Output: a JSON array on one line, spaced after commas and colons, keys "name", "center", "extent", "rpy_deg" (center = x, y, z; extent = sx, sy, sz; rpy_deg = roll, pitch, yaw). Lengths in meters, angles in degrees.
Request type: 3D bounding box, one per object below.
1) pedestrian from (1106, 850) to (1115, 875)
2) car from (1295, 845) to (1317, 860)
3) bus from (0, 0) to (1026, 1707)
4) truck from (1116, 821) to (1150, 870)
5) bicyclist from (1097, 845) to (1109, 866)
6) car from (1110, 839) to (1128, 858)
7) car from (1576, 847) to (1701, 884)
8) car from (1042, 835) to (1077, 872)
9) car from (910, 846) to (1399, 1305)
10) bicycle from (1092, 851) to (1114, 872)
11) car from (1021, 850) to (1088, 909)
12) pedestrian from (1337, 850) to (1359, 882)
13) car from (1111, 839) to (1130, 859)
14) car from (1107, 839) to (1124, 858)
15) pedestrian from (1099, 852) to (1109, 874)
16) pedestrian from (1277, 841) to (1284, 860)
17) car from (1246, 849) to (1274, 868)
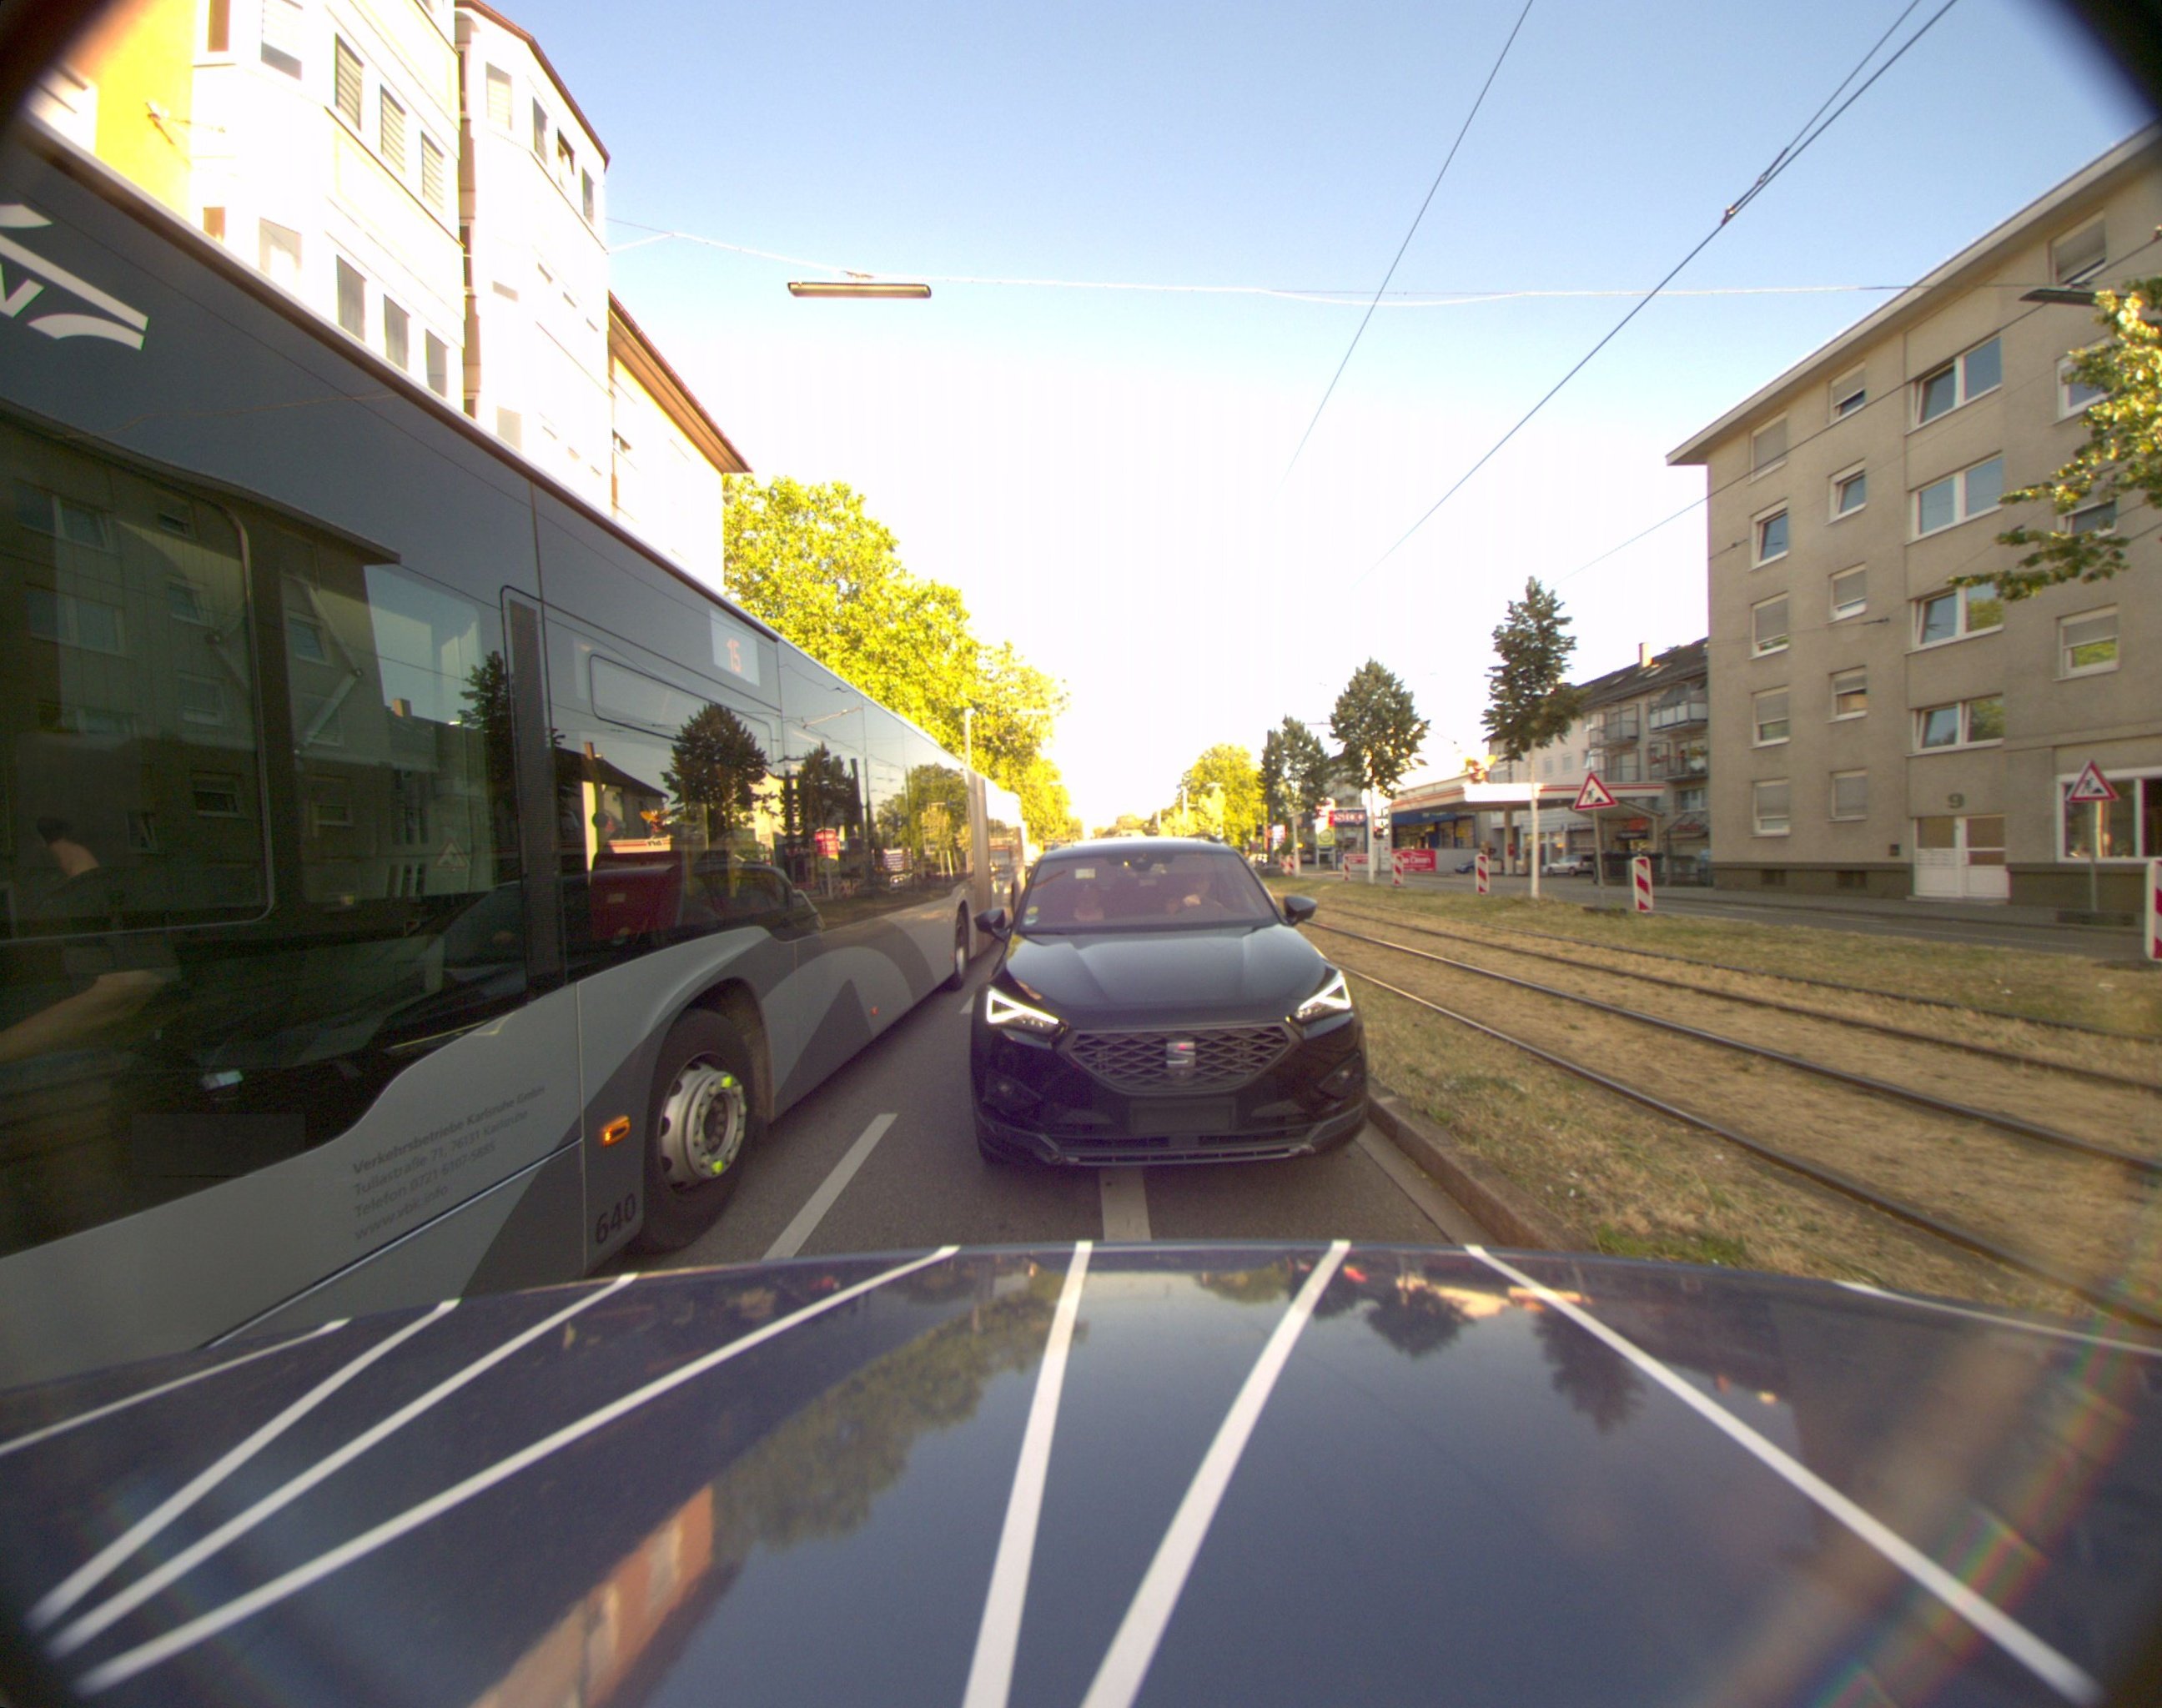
[{"name": "pedestrian", "center": [2.401, 0.680, 61.740], "extent": [0.625, 2.002, 0.695], "rpy_deg": [-2, 0, 0]}, {"name": "car", "center": [25.104, -0.156, 84.816], "extent": [1.781, 1.547, 4.002], "rpy_deg": [-2, 1, 9]}, {"name": "bus", "center": [-2.826, 0.127, 9.116], "extent": [2.773, 3.131, 17.740], "rpy_deg": [-2, 0, 1]}, {"name": "truck", "center": [4.316, -0.700, 64.409], "extent": [2.306, 3.798, 7.723], "rpy_deg": [-2, 1, 1]}, {"name": "bicyclist", "center": [1.381, 0.085, 47.197], "extent": [0.499, 1.303, 0.501], "rpy_deg": [-1, 2, 43]}, {"name": "car", "center": [4.105, -0.592, 83.555], "extent": [1.767, 2.002, 3.791], "rpy_deg": [-2, 1, 1]}, {"name": "car", "center": [22.777, 0.495, 31.141], "extent": [3.727, 1.460, 1.908], "rpy_deg": [0, -1, 0]}, {"name": "car", "center": [-1.708, -0.071, 63.671], "extent": [2.681, 2.875, 5.452], "rpy_deg": [-2, 1, 0]}, {"name": "car", "center": [0.306, 0.841, 4.880], "extent": [1.774, 1.667, 4.000], "rpy_deg": [-3, 0, 1]}, {"name": "bicycle", "center": [1.367, 0.479, 47.242], "extent": [0.524, 1.213, 1.476], "rpy_deg": [-1, 1, 43]}, {"name": "car", "center": [-0.802, 0.788, 25.285], "extent": [1.998, 1.739, 4.000], "rpy_deg": [-2, 0, 0]}, {"name": "pedestrian", "center": [10.971, 0.483, 31.227], "extent": [0.664, 1.263, 0.581], "rpy_deg": [-2, 0, 1]}, {"name": "car", "center": [4.066, -0.534, 78.522], "extent": [1.767, 2.002, 3.791], "rpy_deg": [-2, 1, 1]}, {"name": "car", "center": [3.994, -0.636, 87.876], "extent": [1.767, 2.002, 3.791], "rpy_deg": [-2, 1, 1]}, {"name": "pedestrian", "center": [1.600, 0.628, 53.169], "extent": [0.510, 1.552, 0.698], "rpy_deg": [-2, 1, -14]}, {"name": "pedestrian", "center": [20.860, -0.382, 79.421], "extent": [0.632, 2.002, 0.583], "rpy_deg": [0, 1, 2]}, {"name": "car", "center": [16.577, 0.425, 70.497], "extent": [1.723, 1.601, 3.828], "rpy_deg": [-2, 1, 3]}]
